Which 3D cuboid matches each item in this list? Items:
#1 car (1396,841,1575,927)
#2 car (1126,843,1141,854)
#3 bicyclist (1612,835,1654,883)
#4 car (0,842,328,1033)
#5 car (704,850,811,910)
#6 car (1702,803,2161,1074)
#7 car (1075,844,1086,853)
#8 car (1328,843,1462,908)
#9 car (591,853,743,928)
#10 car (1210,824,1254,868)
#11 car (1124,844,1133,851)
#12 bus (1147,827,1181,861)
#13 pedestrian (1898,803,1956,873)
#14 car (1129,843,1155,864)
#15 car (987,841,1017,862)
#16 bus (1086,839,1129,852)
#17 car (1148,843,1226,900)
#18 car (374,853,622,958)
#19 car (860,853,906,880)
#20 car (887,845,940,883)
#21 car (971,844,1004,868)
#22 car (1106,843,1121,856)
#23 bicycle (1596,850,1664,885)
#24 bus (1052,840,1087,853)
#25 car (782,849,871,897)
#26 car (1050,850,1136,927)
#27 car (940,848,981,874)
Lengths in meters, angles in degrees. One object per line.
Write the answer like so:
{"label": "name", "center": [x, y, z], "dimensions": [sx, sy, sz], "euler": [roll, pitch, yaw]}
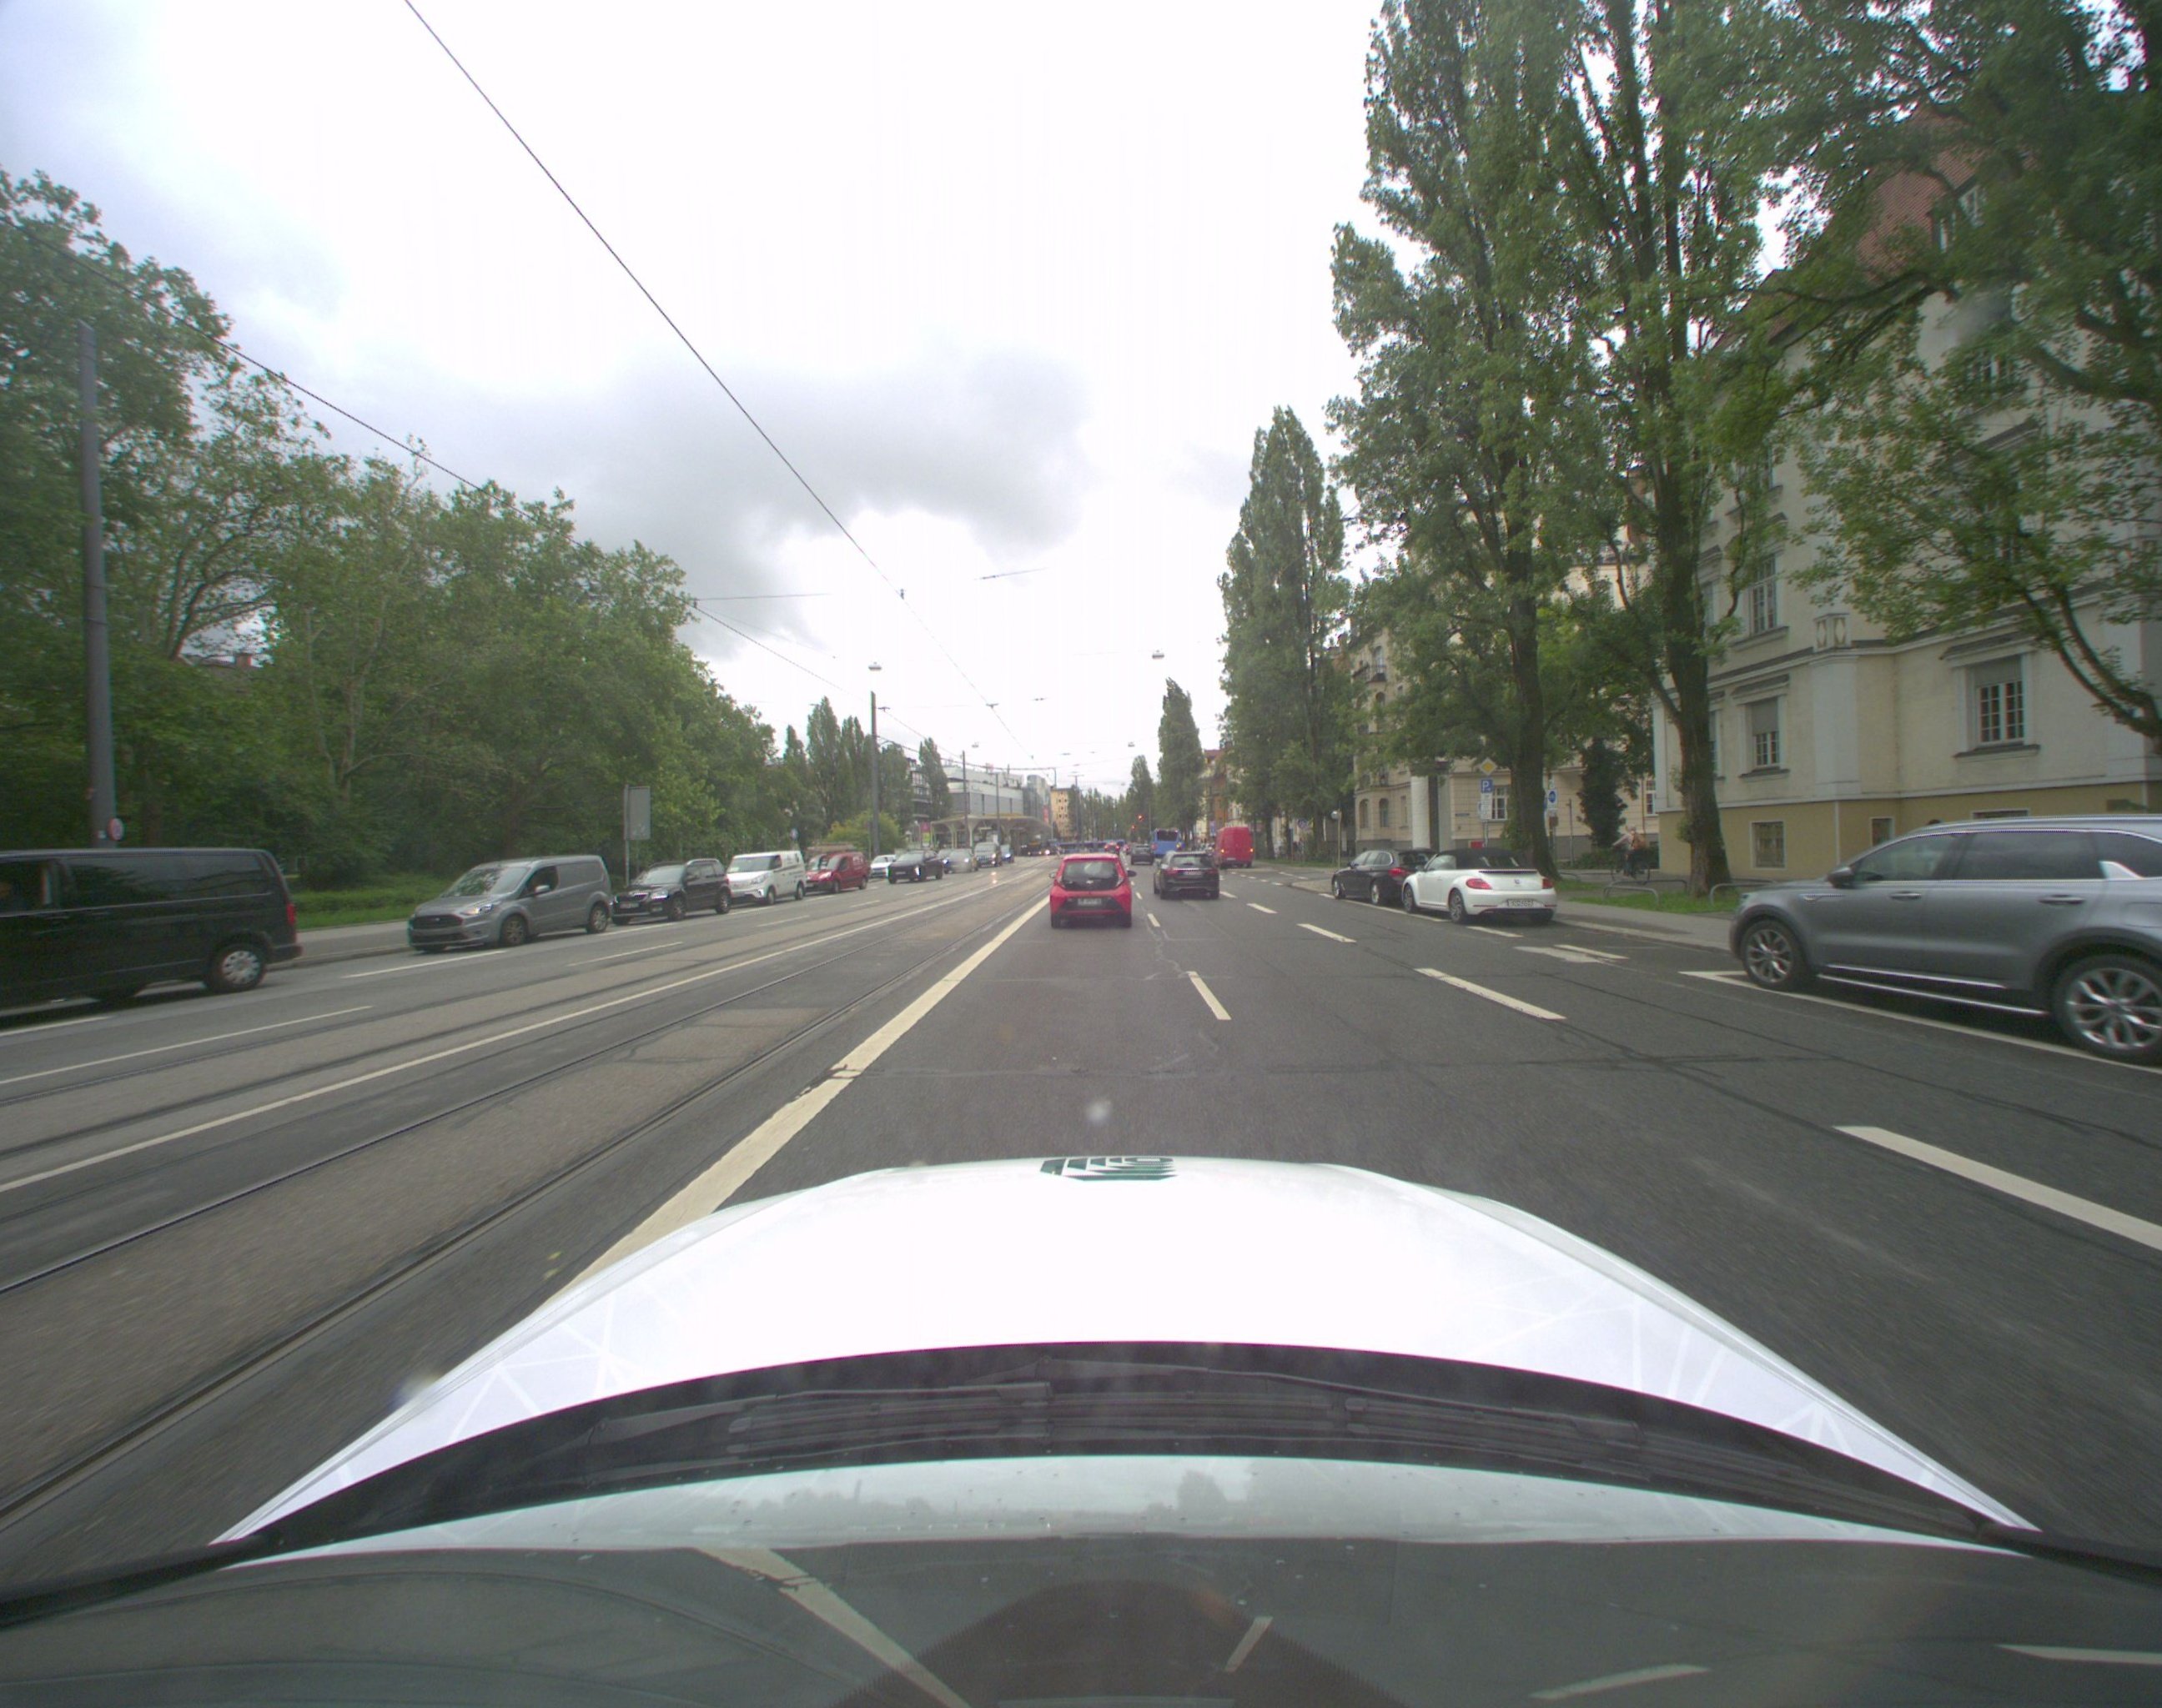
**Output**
{"label": "car", "center": [8.171, 0.530, 16.889], "dimensions": [1.792, 1.508, 4.002], "euler": [-2, 0, 2]}
{"label": "car", "center": [7.067, -0.732, 110.015], "dimensions": [1.774, 1.486, 4.002], "euler": [-2, 0, 2]}
{"label": "bicyclist", "center": [15.758, 0.132, 23.263], "dimensions": [0.658, 1.314, 0.706], "euler": [-2, 0, 0]}
{"label": "car", "center": [-12.161, 0.905, 9.535], "dimensions": [1.792, 1.990, 5.041], "euler": [-3, 0, 2]}
{"label": "car", "center": [-11.529, 0.853, 29.378], "dimensions": [1.793, 1.861, 4.632], "euler": [-4, 0, 1]}
{"label": "car", "center": [7.851, 0.498, 6.765], "dimensions": [1.793, 1.742, 4.701], "euler": [-2, 0, 0]}
{"label": "car", "center": [-0.135, -0.943, 146.542], "dimensions": [1.774, 1.486, 4.002], "euler": [-2, 0, 2]}
{"label": "car", "center": [8.260, 0.504, 21.904], "dimensions": [1.794, 1.508, 4.448], "euler": [-2, 0, -1]}
{"label": "car", "center": [-11.601, 0.938, 23.248], "dimensions": [1.793, 1.788, 4.521], "euler": [-4, 0, 2]}
{"label": "car", "center": [9.505, -0.570, 51.654], "dimensions": [1.986, 2.573, 4.682], "euler": [-1, 2, 2]}
{"label": "car", "center": [10.674, -1.474, 182.925], "dimensions": [1.774, 1.486, 4.002], "euler": [-2, 0, 2]}
{"label": "bus", "center": [8.966, -1.209, 89.021], "dimensions": [2.895, 3.395, 10.812], "euler": [-1, 2, 2]}
{"label": "pedestrian", "center": [19.311, -0.366, 18.596], "dimensions": [0.550, 1.547, 0.739], "euler": [-2, 2, 0]}
{"label": "car", "center": [4.591, -0.080, 61.592], "dimensions": [1.774, 1.486, 4.002], "euler": [-2, 0, 2]}
{"label": "car", "center": [-6.979, -0.258, 72.246], "dimensions": [1.791, 1.664, 4.524], "euler": [-4, 0, 4]}
{"label": "bus", "center": [6.642, -2.169, 203.115], "dimensions": [10.528, 2.845, 1.999], "euler": [-2, 2, -2]}
{"label": "car", "center": [3.260, 0.467, 25.971], "dimensions": [1.857, 1.549, 4.704], "euler": [-2, 1, 0]}
{"label": "car", "center": [-12.031, 0.949, 17.278], "dimensions": [1.793, 1.788, 4.521], "euler": [-4, 0, 2]}
{"label": "car", "center": [-12.645, 0.784, 52.358], "dimensions": [1.794, 1.530, 4.517], "euler": [-4, 0, -1]}
{"label": "car", "center": [-8.866, 0.508, 43.466], "dimensions": [1.793, 1.788, 4.518], "euler": [-4, 0, 0]}
{"label": "car", "center": [-7.242, 0.114, 63.460], "dimensions": [1.792, 1.664, 4.522], "euler": [-4, 0, 2]}
{"label": "car", "center": [3.912, -0.549, 99.521], "dimensions": [1.729, 1.549, 4.578], "euler": [-2, 1, 2]}
{"label": "bicycle", "center": [15.764, 0.368, 23.450], "dimensions": [0.650, 0.923, 1.903], "euler": [-2, 0, 0]}
{"label": "bus", "center": [-2.836, -1.893, 202.616], "dimensions": [8.448, 2.845, 1.998], "euler": [-2, 2, -3]}
{"label": "car", "center": [-10.932, 0.756, 35.387], "dimensions": [1.789, 1.788, 4.530], "euler": [-4, 0, 8]}
{"label": "car", "center": [0.216, 0.653, 17.287], "dimensions": [1.624, 1.440, 3.375], "euler": [-1, 0, -1]}
{"label": "car", "center": [-8.060, 0.447, 54.914], "dimensions": [1.792, 1.530, 4.522], "euler": [-4, 0, 3]}
